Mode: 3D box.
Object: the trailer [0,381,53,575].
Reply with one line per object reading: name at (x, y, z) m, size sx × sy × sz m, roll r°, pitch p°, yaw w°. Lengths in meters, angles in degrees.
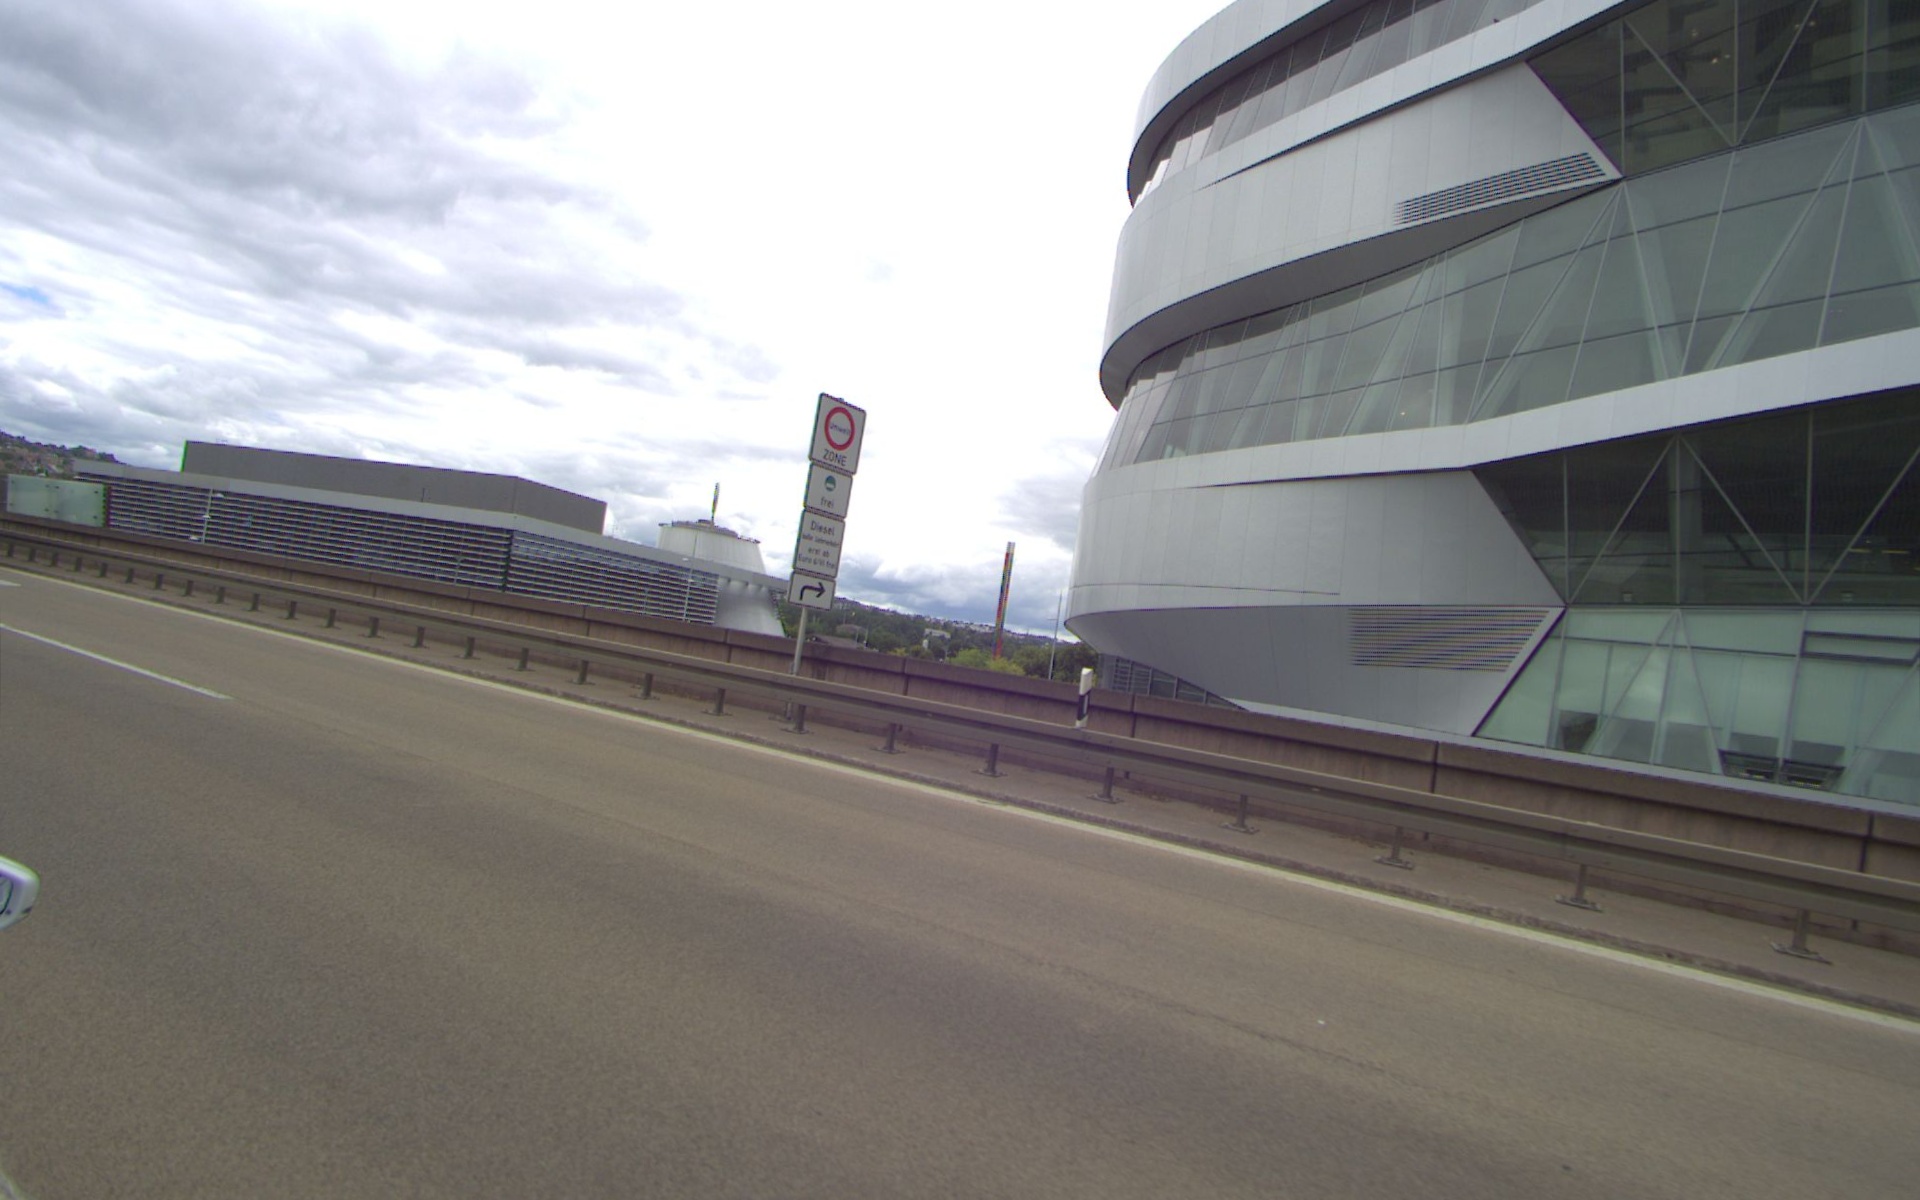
trailer at (-23.453, -2.968, 21.625) m, size 8.161 × 3.834 × 3.064 m, roll 6°, pitch -1°, yaw 29°
